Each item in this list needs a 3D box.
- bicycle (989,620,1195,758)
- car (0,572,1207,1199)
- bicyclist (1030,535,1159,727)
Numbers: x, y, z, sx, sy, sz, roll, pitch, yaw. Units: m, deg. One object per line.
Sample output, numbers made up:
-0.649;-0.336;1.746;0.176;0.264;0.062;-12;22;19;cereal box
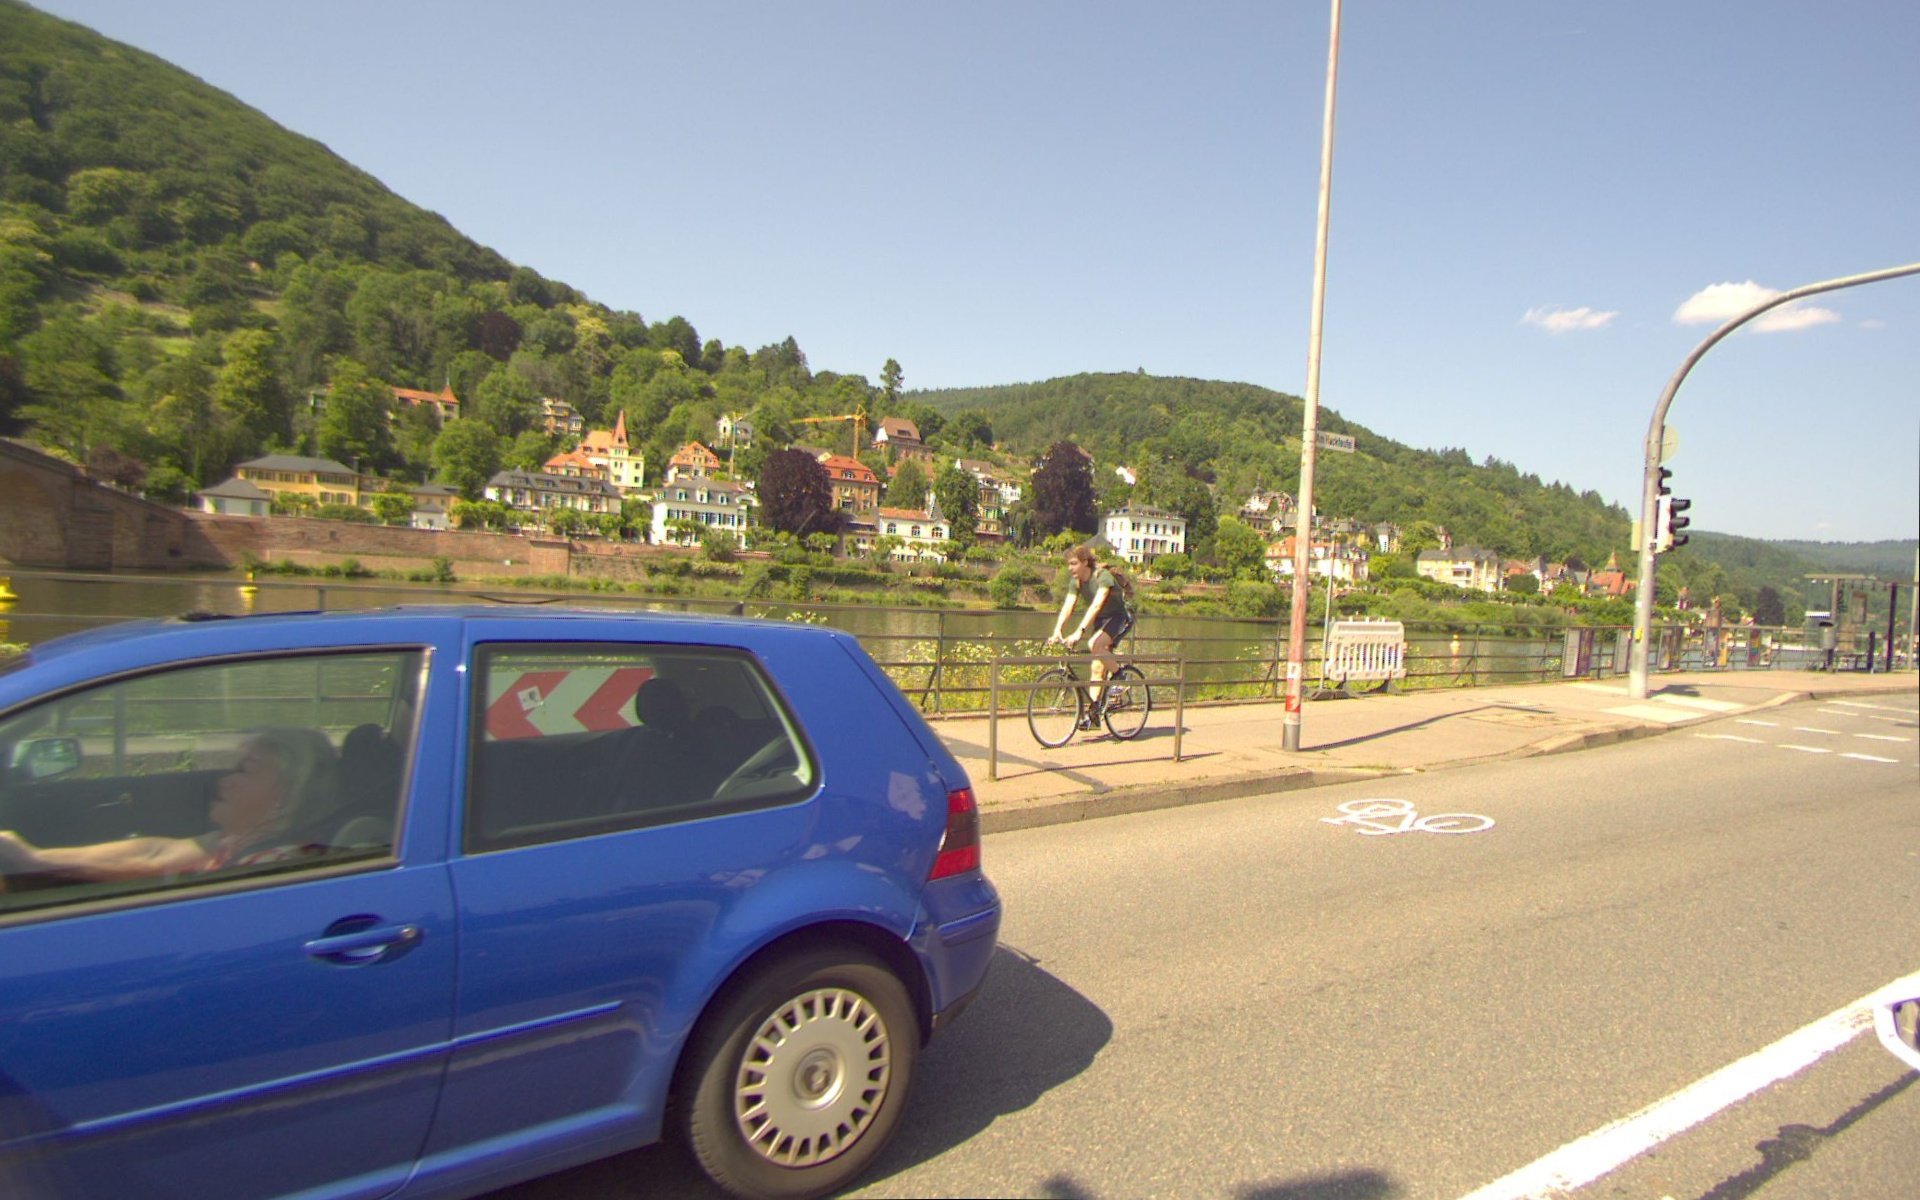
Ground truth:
1.248;0.763;9.206;2.017;1.128;0.661;1;0;-39;bicycle
-1.526;0.717;2.625;4.277;1.510;1.720;1;0;-32;car
1.238;0.272;9.196;0.971;1.653;0.661;1;0;-39;bicyclist
